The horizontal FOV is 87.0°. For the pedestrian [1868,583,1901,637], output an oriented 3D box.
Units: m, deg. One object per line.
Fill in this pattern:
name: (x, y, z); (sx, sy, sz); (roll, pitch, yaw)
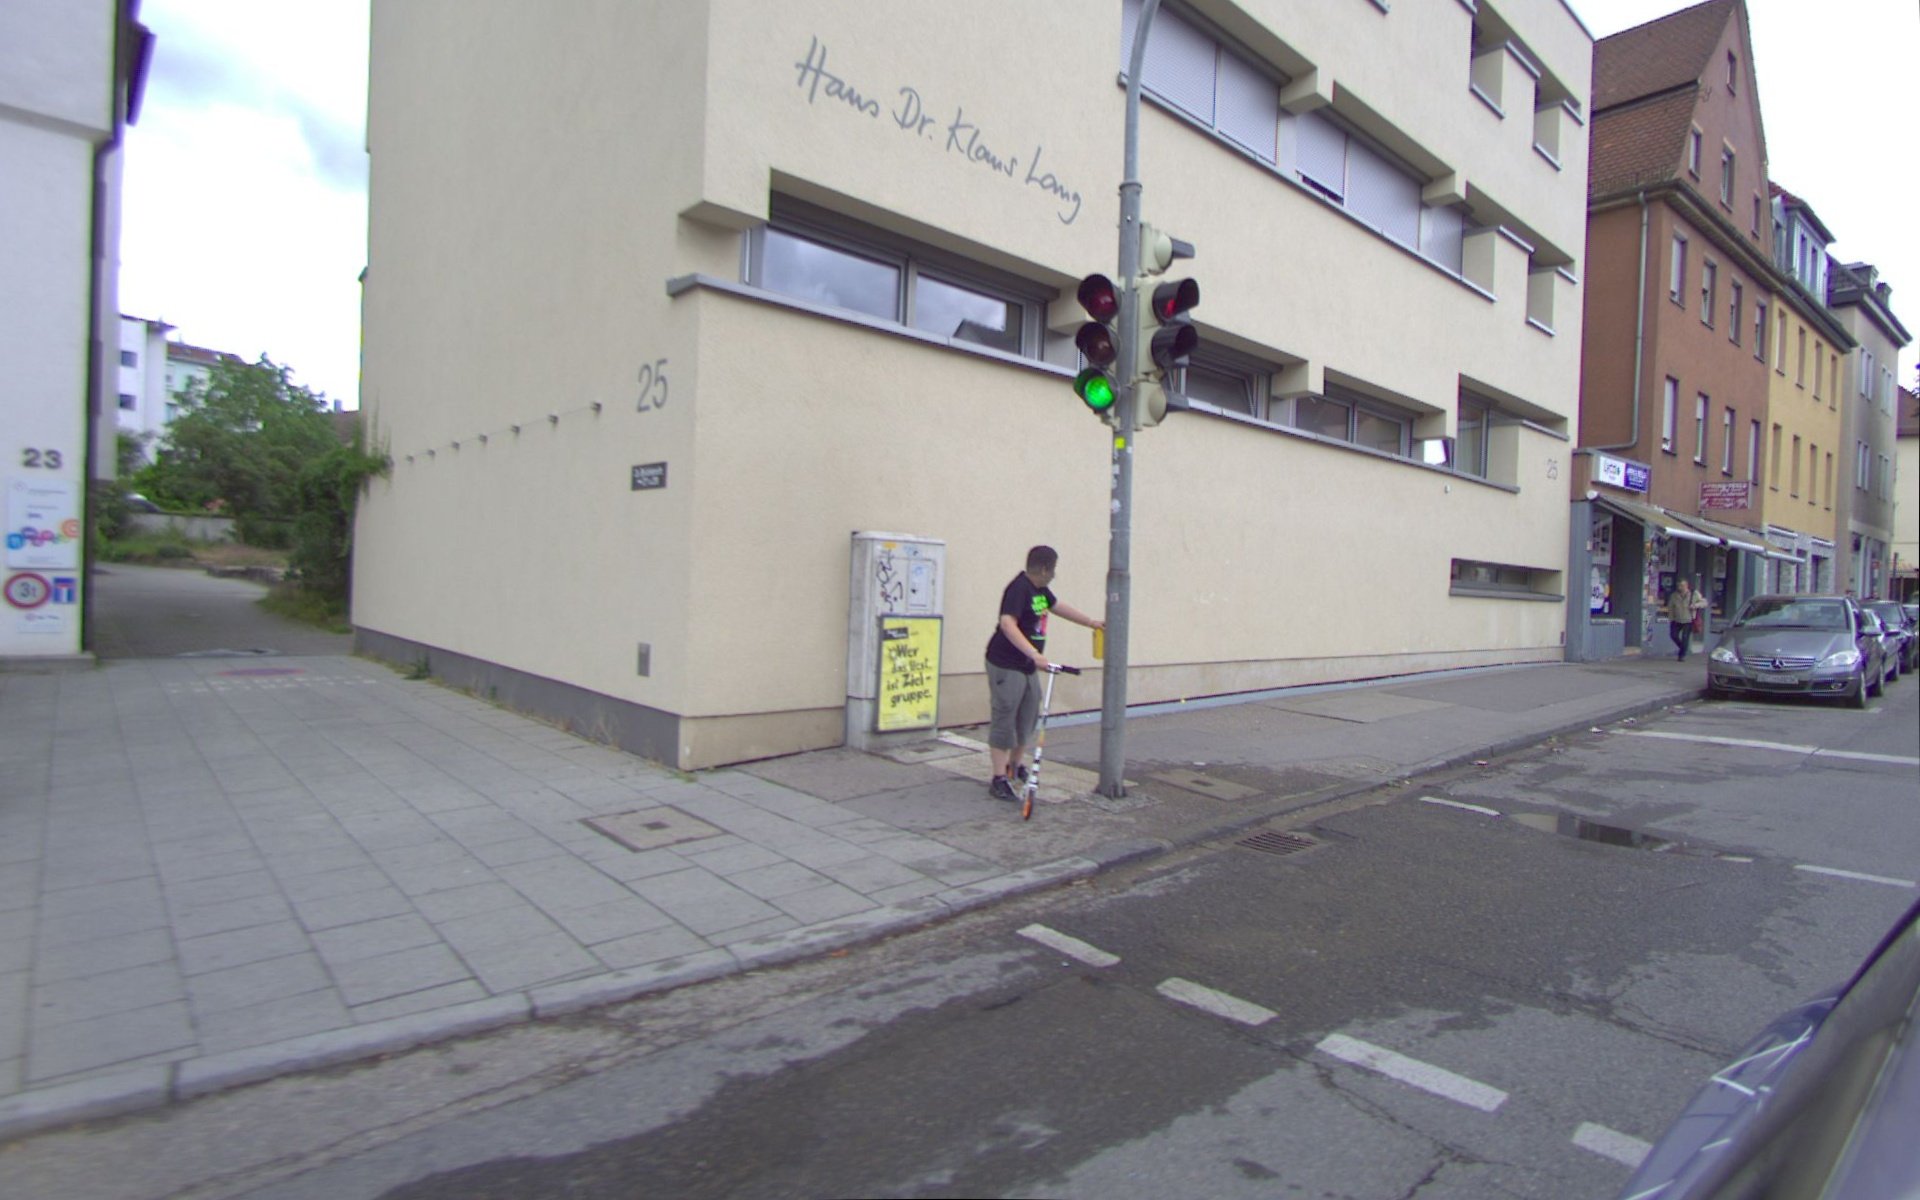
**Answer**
pedestrian: (29.910, 0.328, 32.735); (0.965, 1.673, 0.616); (1, 3, -42)

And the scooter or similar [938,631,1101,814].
scooter or similar: (0.383, 0.727, 6.381); (0.660, 0.957, 0.809); (5, 5, 38)

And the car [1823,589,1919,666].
car: (20.433, 0.545, 22.422); (4.139, 1.537, 1.603); (0, 1, -44)

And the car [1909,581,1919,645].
car: (29.182, 0.394, 29.549); (4.328, 1.803, 1.822); (0, 1, -43)

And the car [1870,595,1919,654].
car: (25.393, 0.626, 26.462); (4.431, 1.423, 1.755); (0, 2, -41)

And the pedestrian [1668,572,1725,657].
pedestrian: (14.921, 0.284, 20.499); (0.873, 1.669, 0.702); (1, 2, -42)

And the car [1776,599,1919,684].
car: (16.324, 0.689, 18.562); (3.747, 1.350, 1.553); (0, 1, -42)

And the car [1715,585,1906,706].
car: (12.933, 0.593, 15.324); (3.721, 1.580, 1.714); (0, 1, -42)

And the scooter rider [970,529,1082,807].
scooter rider: (0.415, 0.392, 6.352); (0.451, 1.651, 0.499); (5, 5, 34)
